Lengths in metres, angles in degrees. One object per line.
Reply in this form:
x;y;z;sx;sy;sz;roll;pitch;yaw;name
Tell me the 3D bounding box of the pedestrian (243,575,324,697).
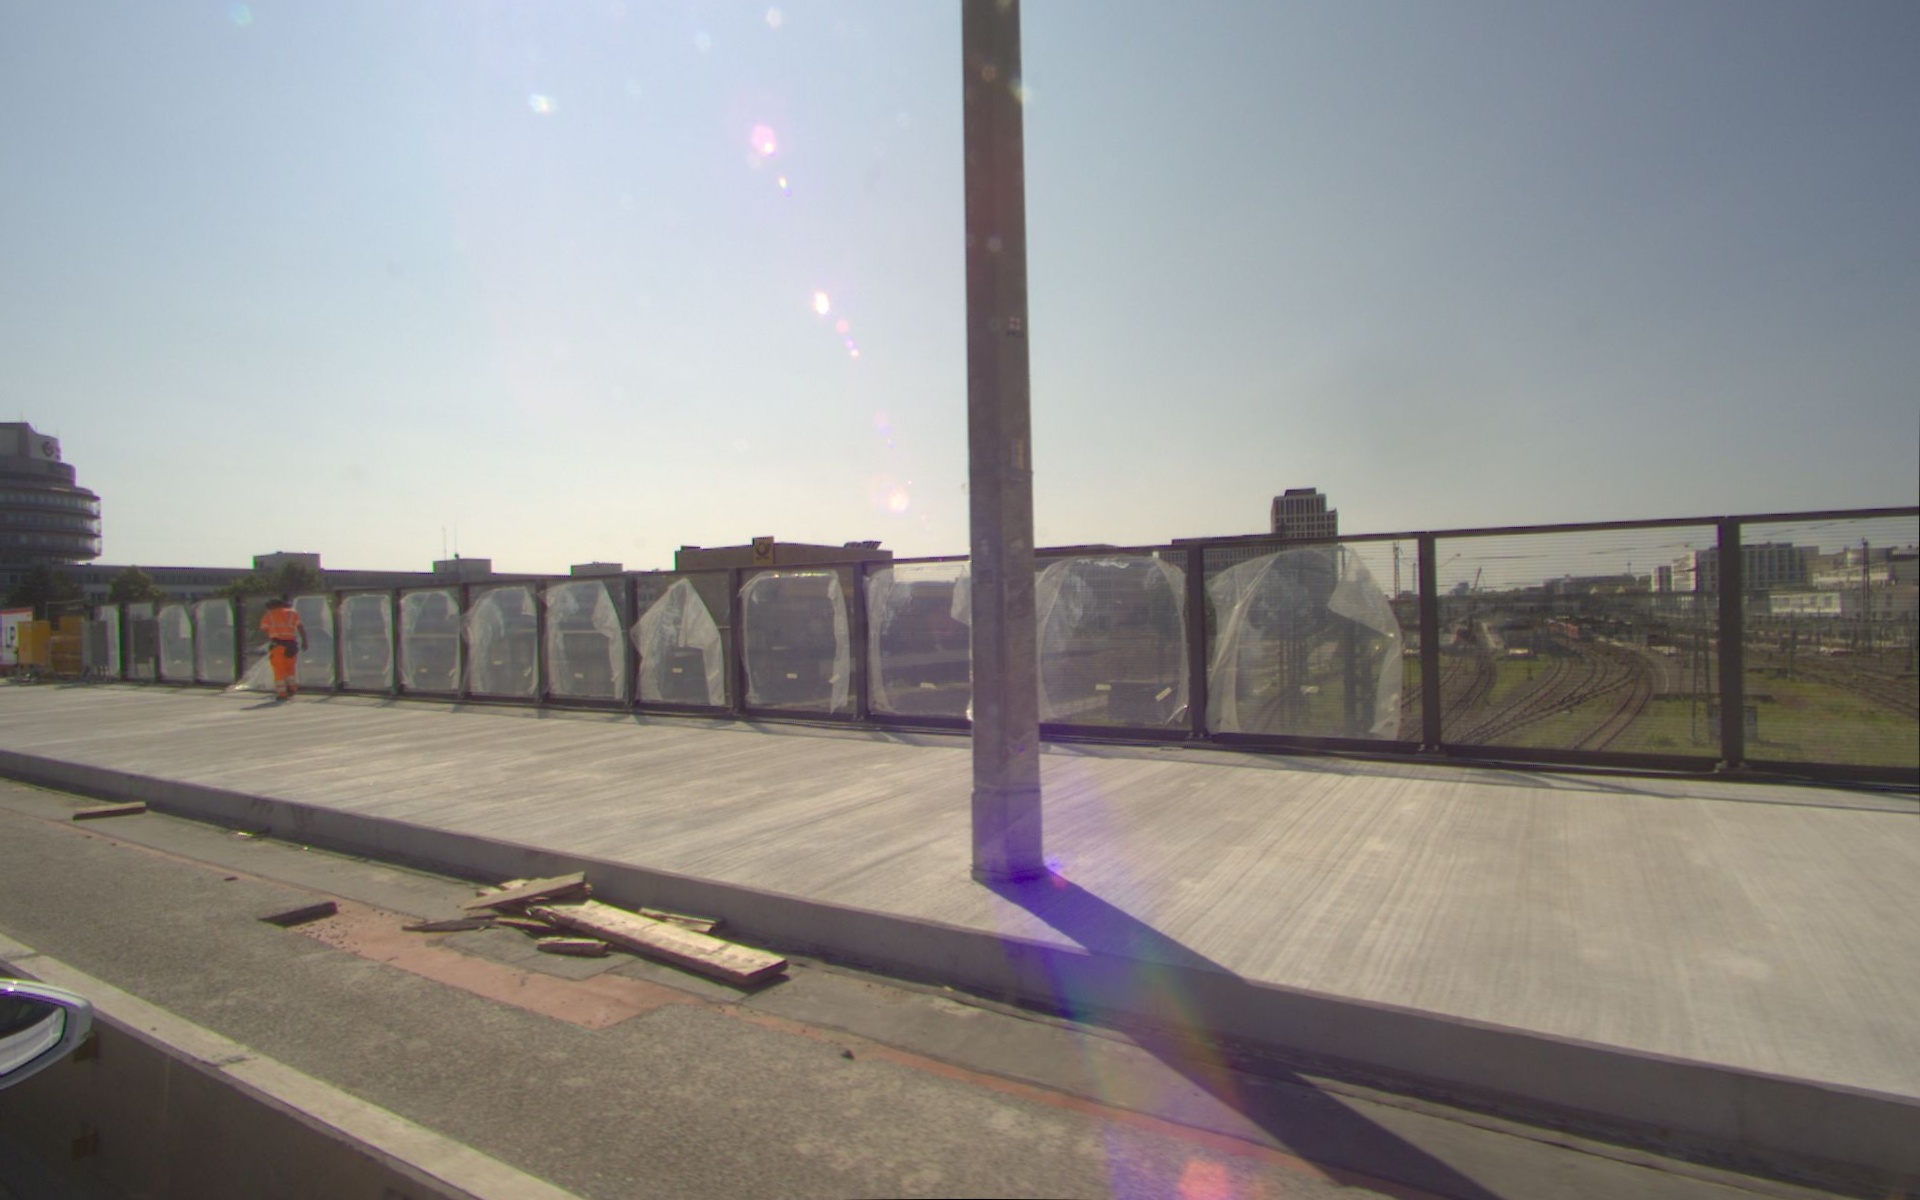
-11.405;0.598;16.879;1.002;1.991;0.729;-1;1;33;pedestrian
